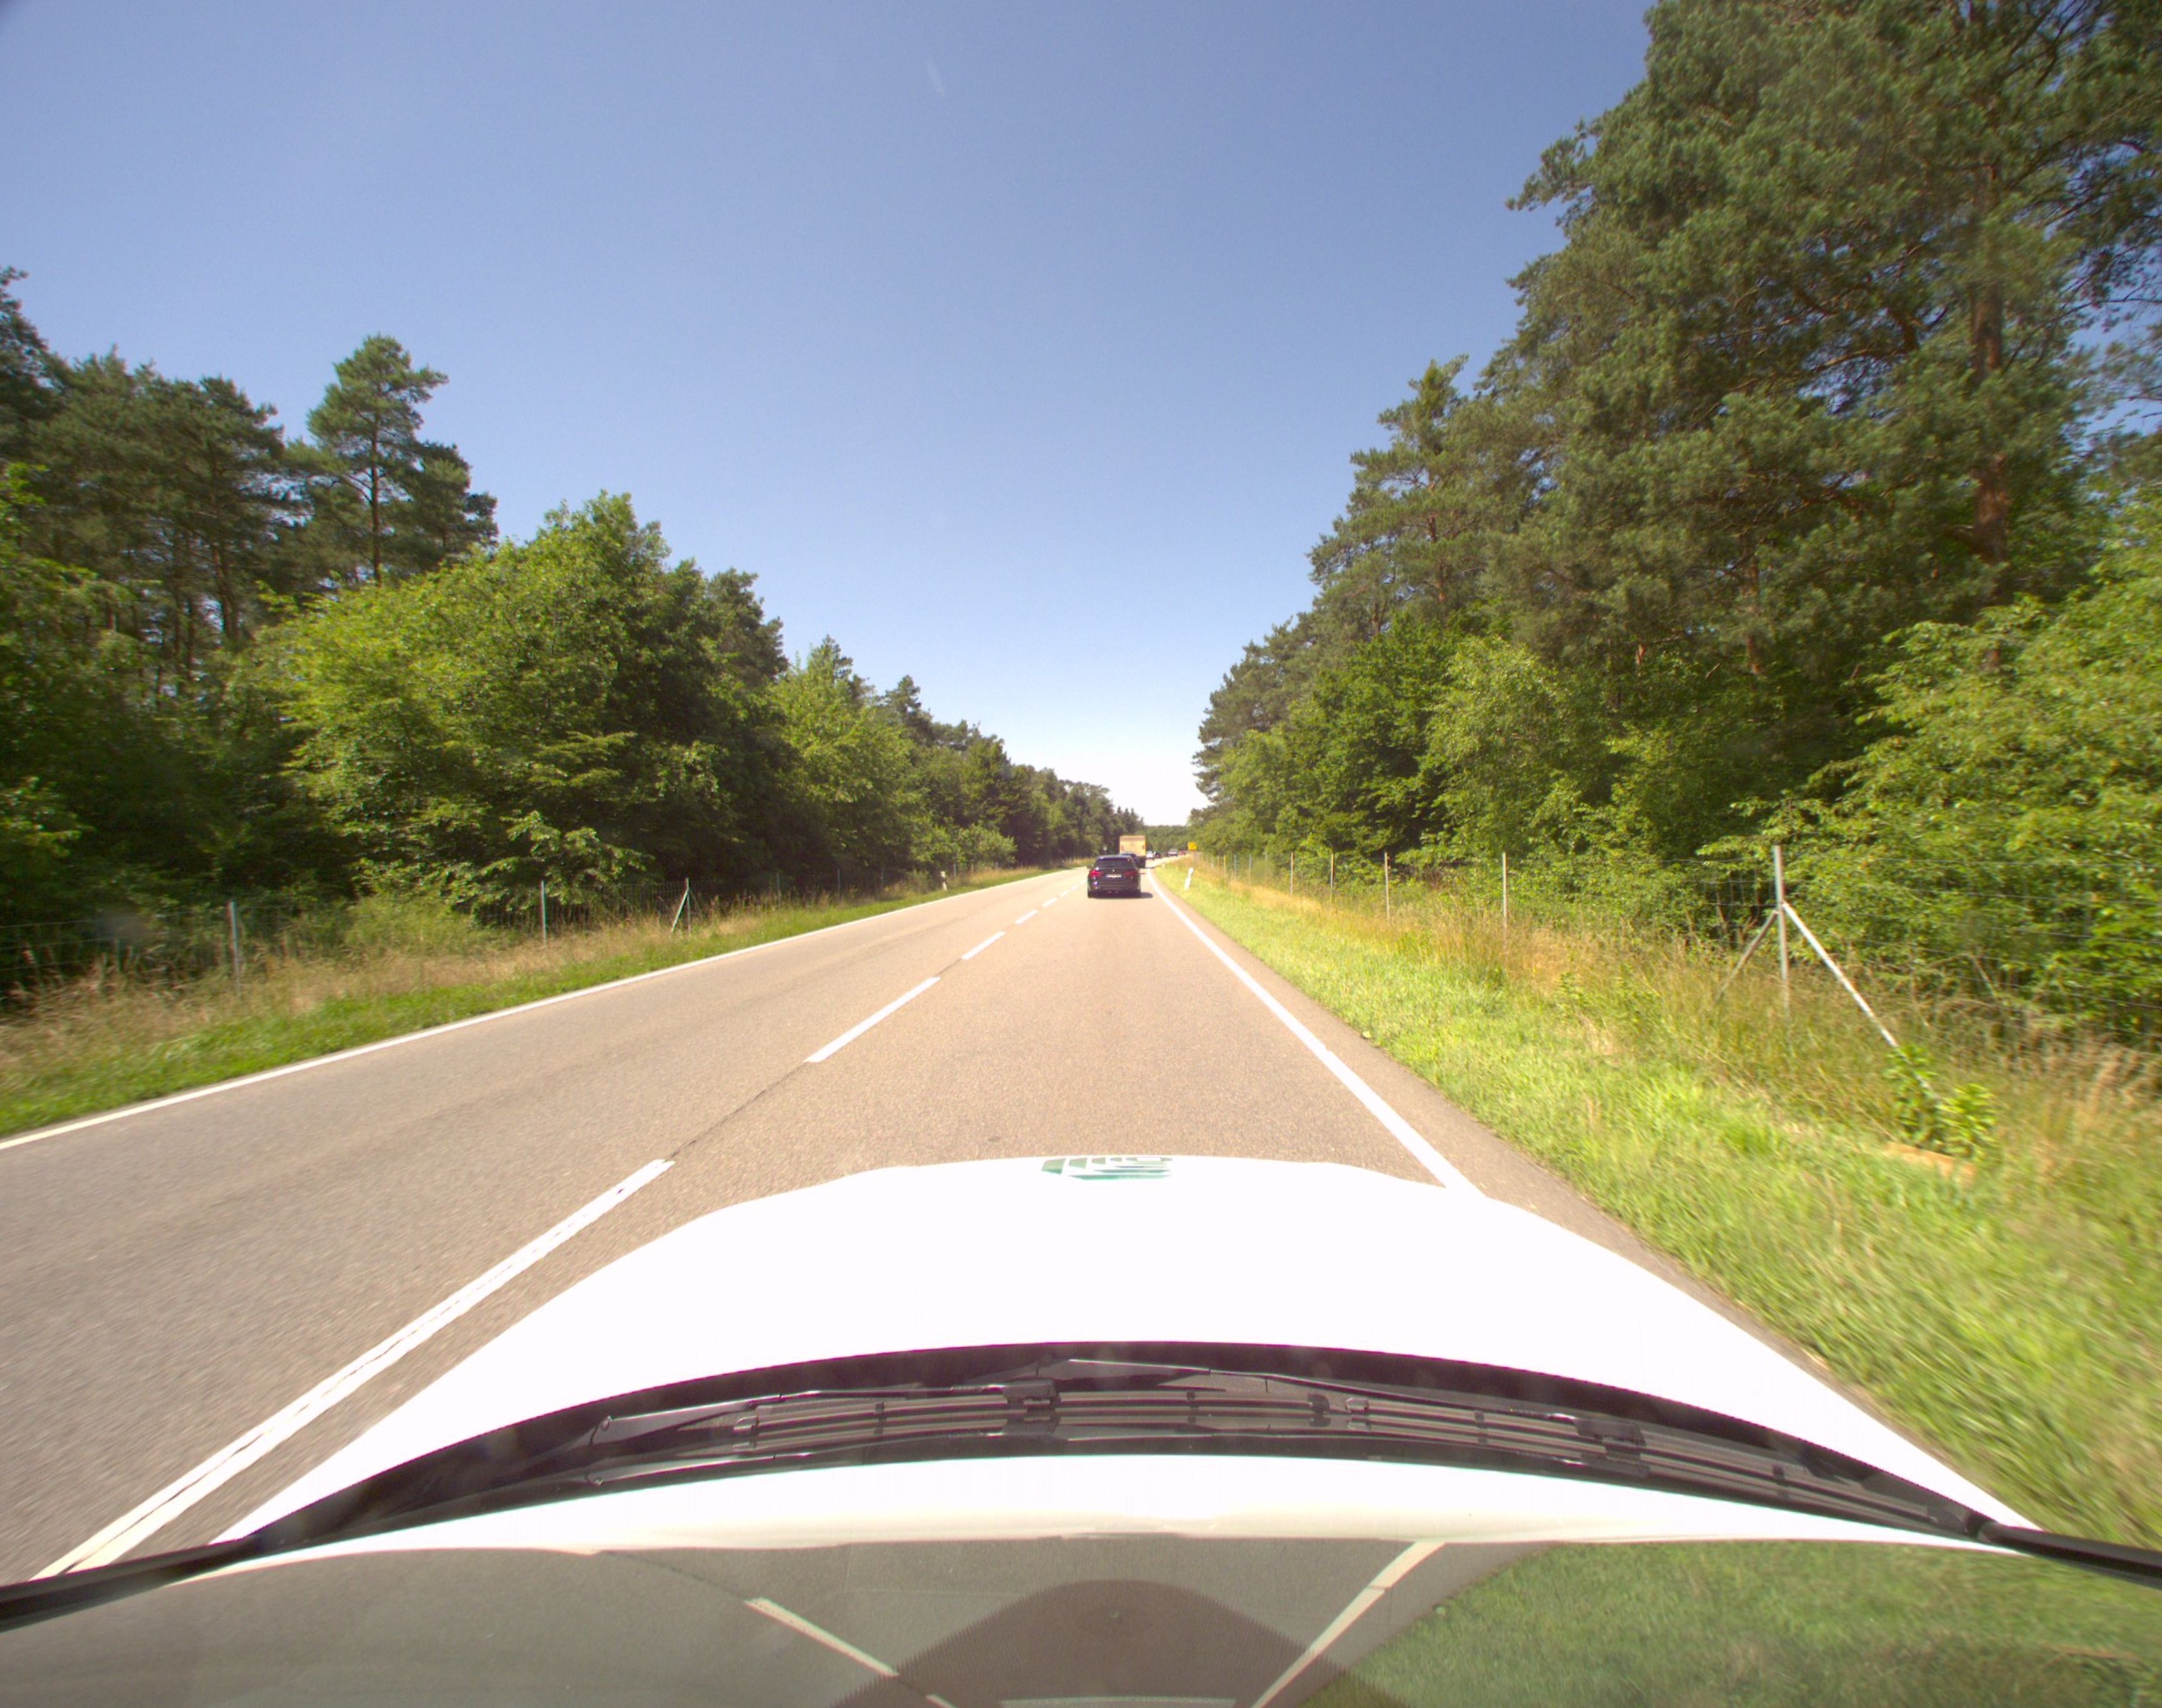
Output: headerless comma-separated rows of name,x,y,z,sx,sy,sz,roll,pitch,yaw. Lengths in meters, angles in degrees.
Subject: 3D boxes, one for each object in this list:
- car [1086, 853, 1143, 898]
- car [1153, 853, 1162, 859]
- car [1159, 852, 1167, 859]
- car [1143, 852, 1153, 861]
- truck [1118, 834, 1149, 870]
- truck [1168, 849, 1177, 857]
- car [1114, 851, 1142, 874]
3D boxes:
car,1.143,0.720,29.281,1.815,1.470,3.999,-2,0,0
car,17.712,0.453,187.795,1.983,1.420,4.007,-1,0,6
car,21.489,0.440,212.582,1.983,1.636,4.007,-3,0,6
car,12.747,0.495,154.906,1.855,1.605,4.004,-2,0,4
truck,5.383,-0.216,82.772,2.952,3.387,6.447,-2,0,5
truck,26.969,-0.410,239.210,2.550,2.202,4.984,-2,0,7
car,3.495,0.622,61.216,1.940,1.541,4.002,-3,0,2
